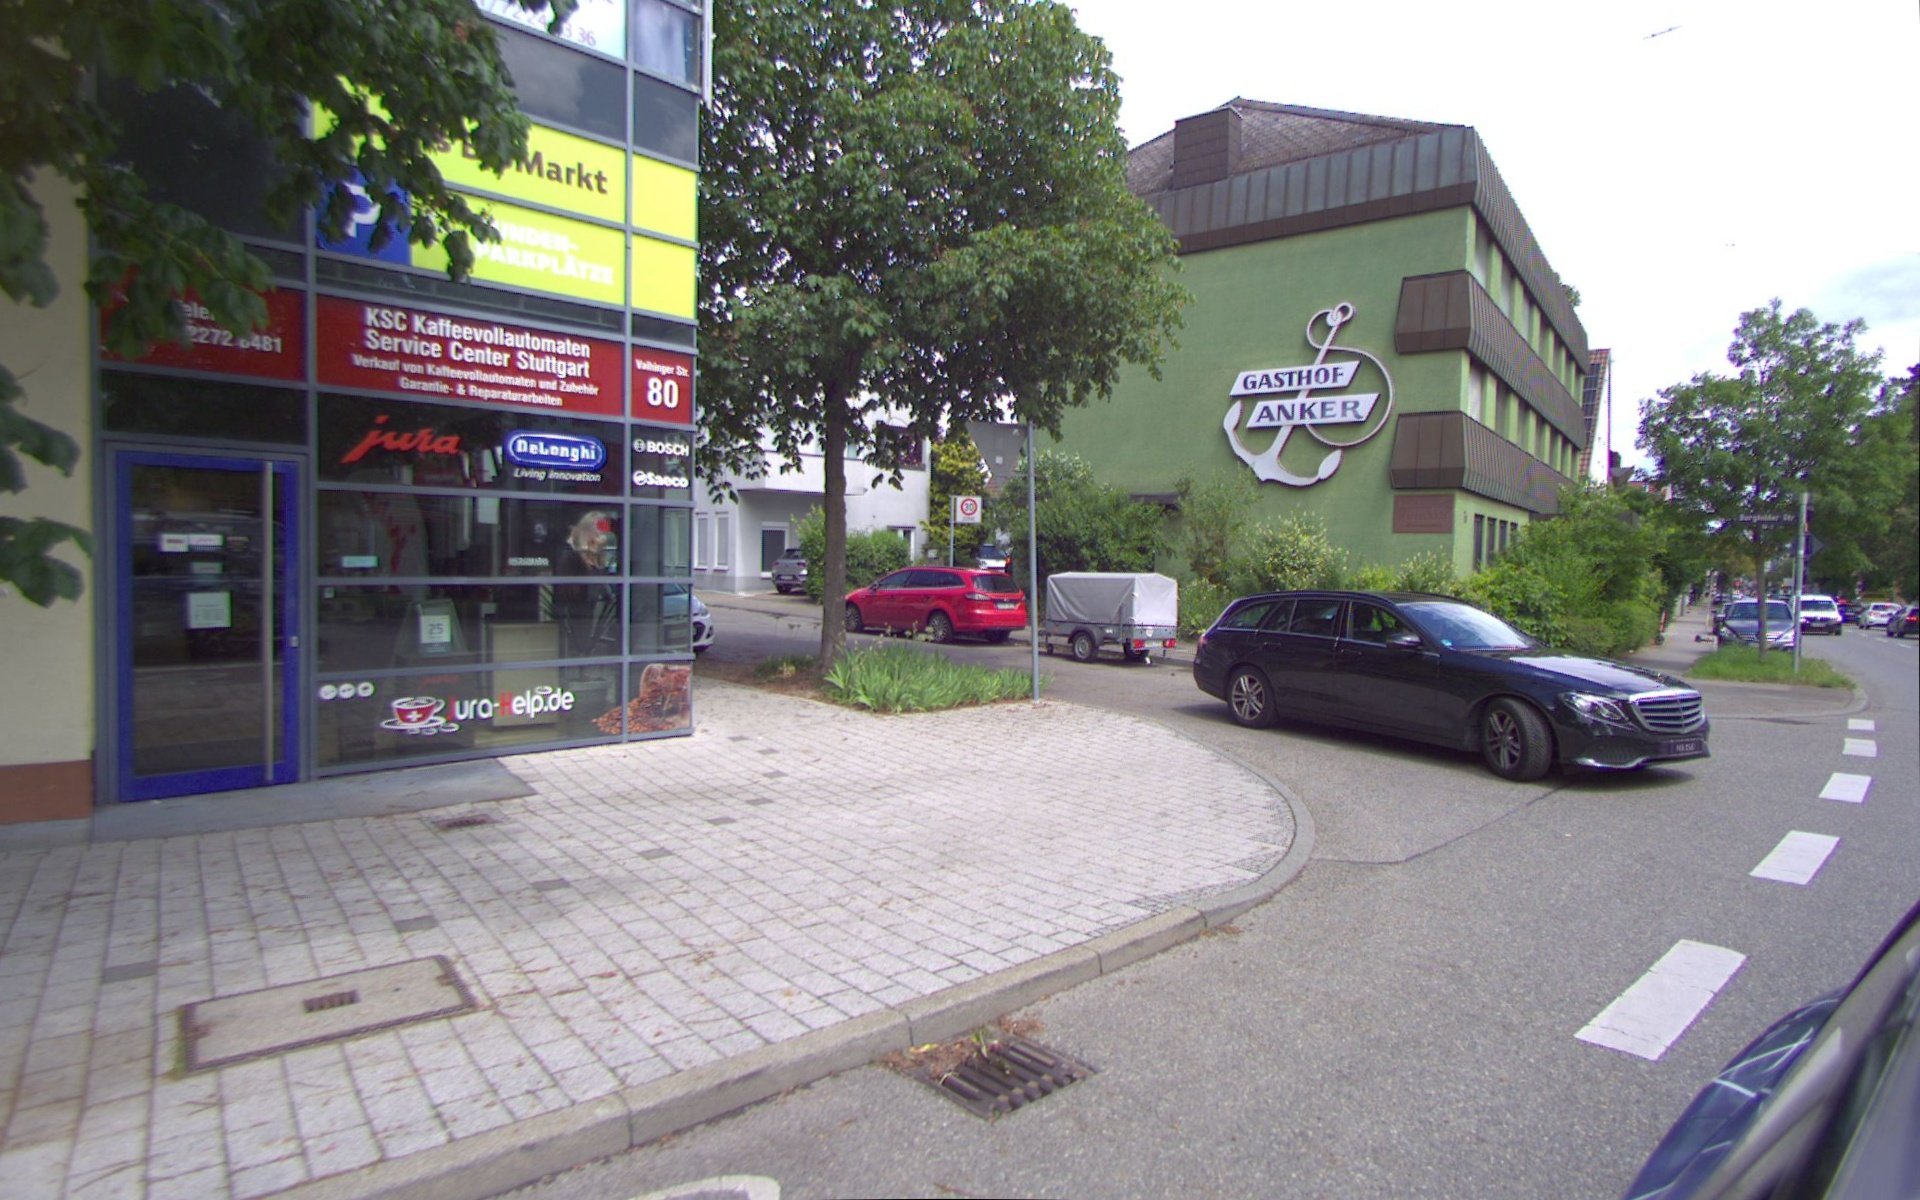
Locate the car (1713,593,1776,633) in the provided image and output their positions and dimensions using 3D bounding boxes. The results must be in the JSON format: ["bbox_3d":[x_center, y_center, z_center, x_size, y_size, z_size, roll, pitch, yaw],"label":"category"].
[{"bbox_3d":[33.586,0.496,43.416,1.980,1.465,4.689,3,3,37],"label":"car"}]

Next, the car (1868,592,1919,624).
[{"bbox_3d":[51.463,0.397,55.738,1.686,1.598,3.751,3,3,36],"label":"car"}]

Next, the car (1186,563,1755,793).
[{"bbox_3d":[4.459,0.492,9.740,1.774,1.648,4.693,0,2,-30],"label":"car"}]

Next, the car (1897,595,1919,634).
[{"bbox_3d":[42.787,0.644,44.478,1.772,1.541,4.404,3,3,36],"label":"car"}]

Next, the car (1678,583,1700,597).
[{"bbox_3d":[80.664,-1.135,112.071,1.779,1.332,4.427,4,4,34],"label":"car"}]

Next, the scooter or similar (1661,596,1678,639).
[{"bbox_3d":[22.681,0.550,32.355,0.300,1.320,1.385,6,3,37],"label":"scooter or similar"}]

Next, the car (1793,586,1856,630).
[{"bbox_3d":[39.950,0.319,46.850,1.956,1.829,4.370,1,2,37],"label":"car"}]

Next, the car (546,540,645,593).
[{"bbox_3d":[-12.267,-1.155,33.921,1.703,1.627,3.973,-1,4,-43],"label":"car"}]

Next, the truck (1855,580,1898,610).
[{"bbox_3d":[80.090,-0.501,88.488,2.301,2.449,6.010,1,2,38],"label":"truck"}]

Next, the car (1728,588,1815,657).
[{"bbox_3d":[22.282,0.576,27.828,1.687,1.687,4.399,3,2,39],"label":"car"}]

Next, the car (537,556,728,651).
[{"bbox_3d":[-5.700,-0.012,17.423,1.704,1.463,3.596,-1,2,-45],"label":"car"}]

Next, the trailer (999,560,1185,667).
[{"bbox_3d":[2.290,0.183,18.131,1.368,1.601,3.168,1,3,-39],"label":"trailer"}]

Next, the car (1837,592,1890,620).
[{"bbox_3d":[56.998,0.340,63.887,1.824,1.541,4.122,3,3,33],"label":"car"}]

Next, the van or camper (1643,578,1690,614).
[{"bbox_3d":[42.859,-0.279,61.343,1.865,2.057,4.481,2,2,40],"label":"van or camper"}]

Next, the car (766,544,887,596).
[{"bbox_3d":[-4.358,-0.996,33.238,3.627,1.550,1.625,-1,6,-41],"label":"car"}]

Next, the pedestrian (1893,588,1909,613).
[{"bbox_3d":[66.466,0.016,71.480,0.681,1.758,0.857,1,2,37],"label":"pedestrian"}]

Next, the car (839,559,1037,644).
[{"bbox_3d":[-0.553,-0.047,21.046,1.703,1.463,4.248,-1,4,-43],"label":"car"}]
